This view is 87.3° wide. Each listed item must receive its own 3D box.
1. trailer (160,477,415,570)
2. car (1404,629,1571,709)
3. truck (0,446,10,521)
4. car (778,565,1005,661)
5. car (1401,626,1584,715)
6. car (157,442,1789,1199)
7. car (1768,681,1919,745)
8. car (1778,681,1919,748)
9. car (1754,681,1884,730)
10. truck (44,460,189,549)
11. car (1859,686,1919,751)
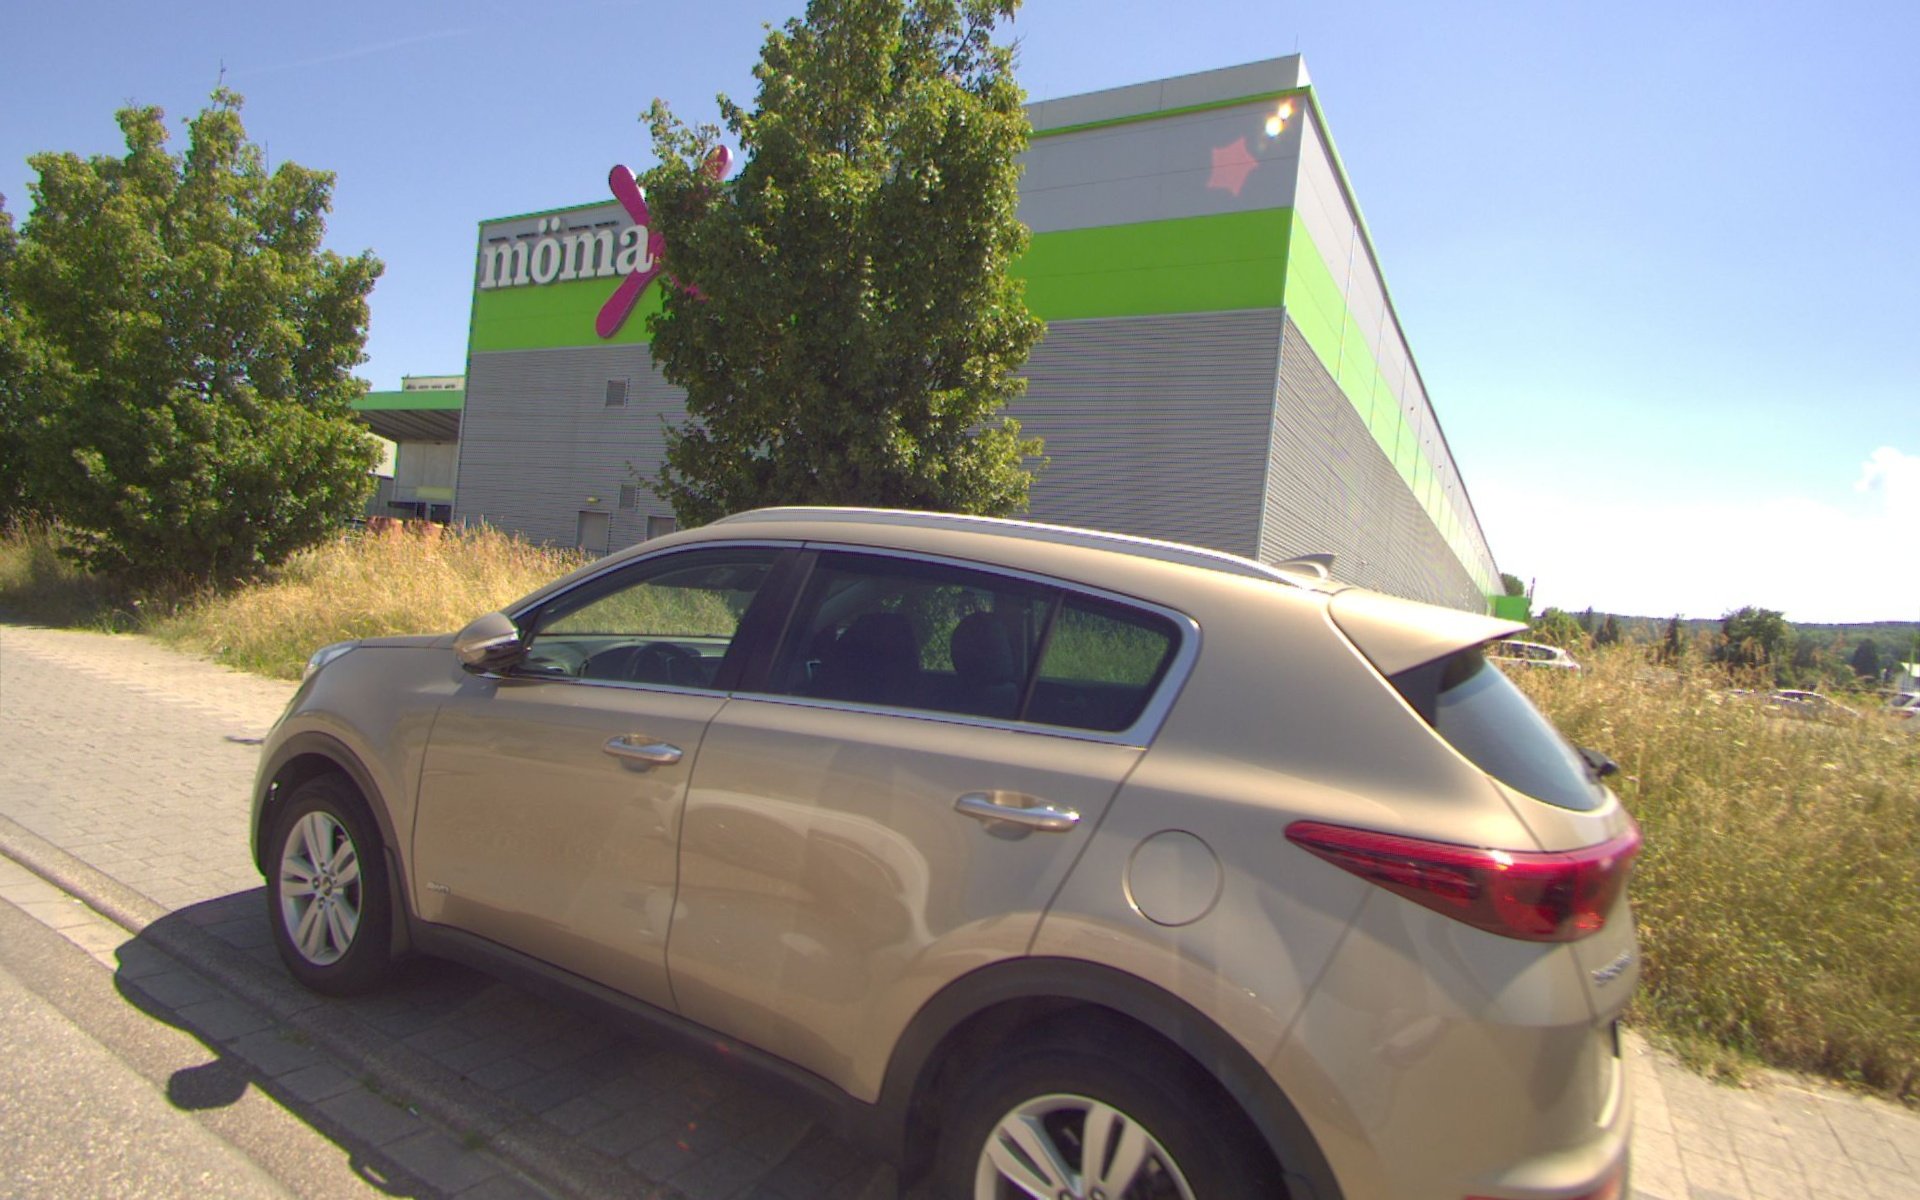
[{"bbox_3d":[-40.065,-4.387,60.829,2.757,3.922,12.634,5,-1,31],"label":"trailer"},{"bbox_3d":[16.539,2.124,31.619,4.326,1.809,1.995,8,2,31],"label":"car"},{"bbox_3d":[-40.518,-4.898,38.265,2.374,2.949,5.829,6,0,30],"label":"truck"},{"bbox_3d":[-1.479,0.266,21.263,4.327,1.518,1.995,6,1,31],"label":"car"},{"bbox_3d":[15.272,1.978,28.989,4.326,1.809,1.995,8,2,31],"label":"car"},{"bbox_3d":[-0.454,0.512,3.203,4.383,1.657,1.805,6,2,31],"label":"car"},{"bbox_3d":[32.687,4.126,36.903,4.326,1.602,1.995,8,2,31],"label":"car"},{"bbox_3d":[30.734,3.909,34.033,4.326,1.602,1.995,8,2,31],"label":"car"},{"bbox_3d":[41.387,5.051,48.605,4.326,1.602,1.995,8,2,31],"label":"car"},{"bbox_3d":[-44.549,-4.965,53.232,2.758,3.923,5.069,5,-1,31],"label":"truck"},{"bbox_3d":[27.541,3.485,27.211,4.326,1.602,1.995,8,2,31],"label":"car"}]
